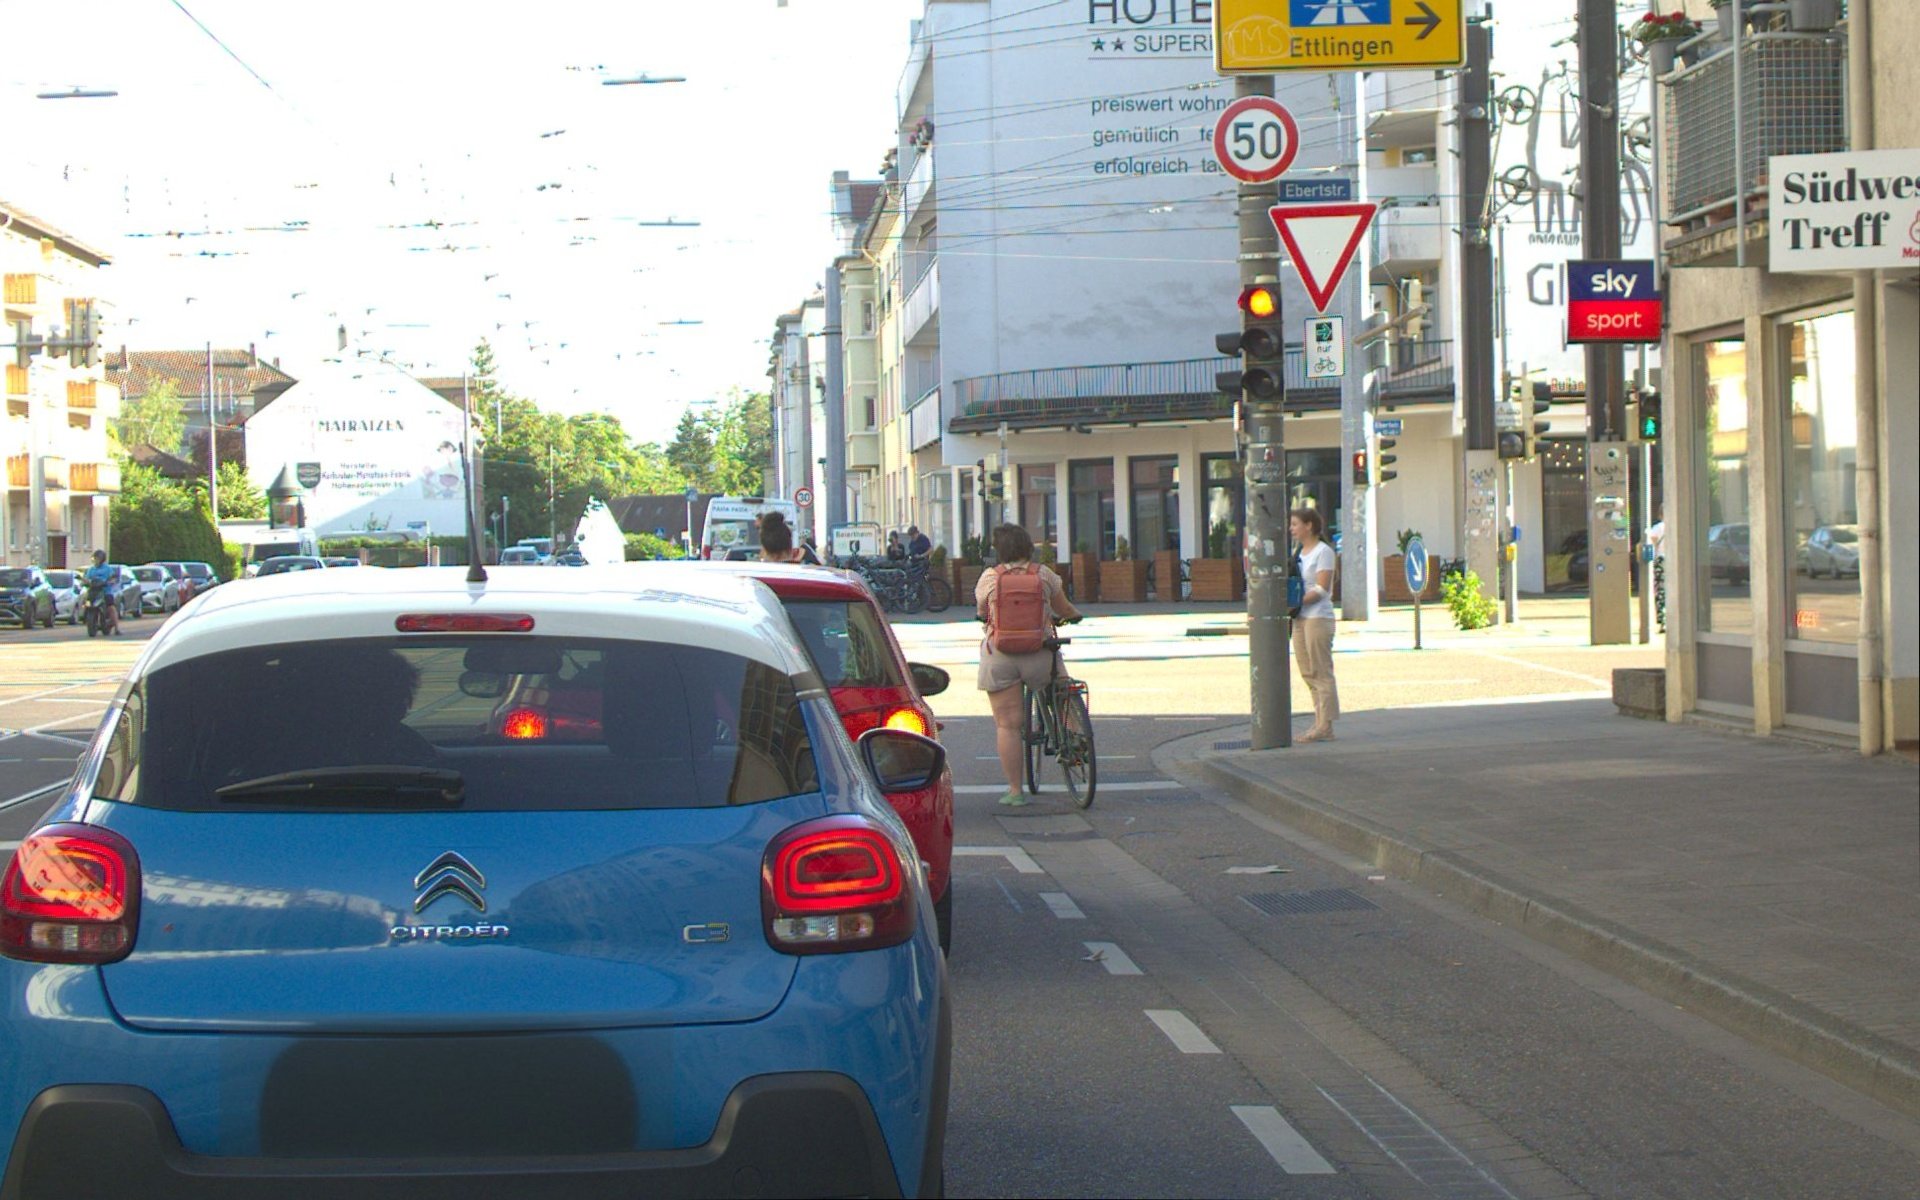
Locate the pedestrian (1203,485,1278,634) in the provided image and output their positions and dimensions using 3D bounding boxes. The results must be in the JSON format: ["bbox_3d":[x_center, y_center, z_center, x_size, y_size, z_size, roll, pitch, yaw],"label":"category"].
[{"bbox_3d":[3.824,-0.549,46.906,0.926,2.007,0.759,1,0,-1],"label":"pedestrian"}]

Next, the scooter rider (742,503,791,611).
[{"bbox_3d":[-3.318,-0.737,58.985,0.722,1.826,0.717,-1,1,3],"label":"scooter rider"}]

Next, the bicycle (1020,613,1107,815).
[{"bbox_3d":[0.607,0.652,20.589,0.427,1.119,1.998,1,1,-1],"label":"bicycle"}]

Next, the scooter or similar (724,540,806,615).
[{"bbox_3d":[-3.344,-0.383,58.989,1.350,1.264,0.443,0,2,5],"label":"scooter or similar"}]

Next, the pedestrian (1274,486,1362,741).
[{"bbox_3d":[2.531,0.093,24.355,0.517,1.777,0.595,1,0,-2],"label":"pedestrian"}]

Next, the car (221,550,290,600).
[{"bbox_3d":[-24.800,-0.891,121.135,1.846,1.681,3.875,1,1,-4],"label":"car"}]

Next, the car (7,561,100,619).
[{"bbox_3d":[-24.297,-0.279,92.250,1.732,1.493,4.001,1,1,-5],"label":"car"}]

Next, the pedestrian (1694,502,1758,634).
[{"bbox_3d":[9.724,-0.408,43.640,0.752,1.652,0.883,1,0,13],"label":"pedestrian"}]

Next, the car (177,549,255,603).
[{"bbox_3d":[-24.055,-0.781,111.277,1.882,1.681,4.001,1,1,-4],"label":"car"}]

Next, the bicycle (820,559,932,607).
[{"bbox_3d":[-1.638,-0.331,67.159,2.132,0.898,0.367,1,0,-9],"label":"bicycle"}]

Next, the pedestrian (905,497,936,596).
[{"bbox_3d":[-0.804,-1.087,70.000,0.577,2.007,0.626,1,0,-3],"label":"pedestrian"}]

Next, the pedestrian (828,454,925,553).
[{"bbox_3d":[-1.755,-2.037,73.533,1.993,2.007,4.000,1,1,-1],"label":"pedestrian"}]

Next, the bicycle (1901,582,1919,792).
[{"bbox_3d":[4.840,0.424,15.786,0.542,0.995,1.706,1,1,-1],"label":"bicycle"}]

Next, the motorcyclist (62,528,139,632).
[{"bbox_3d":[-16.814,-0.400,67.283,1.185,2.007,1.276,-1,1,-3],"label":"motorcyclist"}]

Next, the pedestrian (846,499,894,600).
[{"bbox_3d":[-1.809,-1.009,69.146,0.630,2.007,0.724,0,0,-36],"label":"pedestrian"}]

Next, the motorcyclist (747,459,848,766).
[{"bbox_3d":[-0.922,0.066,19.622,0.526,1.710,0.717,1,0,-1],"label":"motorcyclist"}]

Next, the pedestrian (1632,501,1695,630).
[{"bbox_3d":[8.842,-0.435,43.184,0.736,1.595,0.748,1,0,13],"label":"pedestrian"}]

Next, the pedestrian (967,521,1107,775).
[{"bbox_3d":[0.445,0.274,20.210,0.777,1.455,0.682,1,0,-1],"label":"pedestrian"}]

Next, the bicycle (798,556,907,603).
[{"bbox_3d":[-2.140,-0.410,68.346,2.132,0.898,0.367,1,0,-9],"label":"bicycle"}]

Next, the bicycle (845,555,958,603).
[{"bbox_3d":[-1.124,-0.397,65.959,2.132,0.898,0.367,1,0,-9],"label":"bicycle"}]

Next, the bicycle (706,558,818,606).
[{"bbox_3d":[-3.815,-0.351,66.223,2.132,0.898,0.367,1,0,-9],"label":"bicycle"}]

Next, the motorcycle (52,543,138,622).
[{"bbox_3d":[-16.836,-0.351,67.009,0.923,1.481,3.726,1,1,-3],"label":"motorcycle"}]

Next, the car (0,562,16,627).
[{"bbox_3d":[-23.232,-0.134,79.397,1.787,1.506,4.150,1,1,-2],"label":"car"}]

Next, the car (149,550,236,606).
[{"bbox_3d":[-23.709,-0.692,106.346,1.983,1.681,4.001,1,1,-3],"label":"car"}]

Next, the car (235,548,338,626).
[{"bbox_3d":[-14.947,-0.306,76.415,1.774,1.660,3.857,1,1,-4],"label":"car"}]

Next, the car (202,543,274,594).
[{"bbox_3d":[-24.488,-1.061,116.705,1.833,1.681,4.001,1,1,-4],"label":"car"}]

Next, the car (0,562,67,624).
[{"bbox_3d":[-23.662,-0.200,86.087,1.785,1.493,4.001,1,1,-4],"label":"car"}]

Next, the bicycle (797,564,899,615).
[{"bbox_3d":[-2.063,-0.196,63.152,1.855,0.900,0.349,1,0,19],"label":"bicycle"}]

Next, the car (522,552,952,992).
[{"bbox_3d":[-0.771,0.571,13.113,1.424,1.462,2.924,-1,0,-1],"label":"car"}]

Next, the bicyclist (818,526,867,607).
[{"bbox_3d":[-2.160,-0.610,63.196,0.746,1.472,0.562,1,0,18],"label":"bicyclist"}]

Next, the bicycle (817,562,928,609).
[{"bbox_3d":[-1.714,-0.292,67.562,2.132,0.898,0.367,1,0,-9],"label":"bicycle"}]

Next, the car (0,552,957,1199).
[{"bbox_3d":[-0.862,0.635,7.160,1.654,1.439,3.523,1,1,-1],"label":"car"}]
